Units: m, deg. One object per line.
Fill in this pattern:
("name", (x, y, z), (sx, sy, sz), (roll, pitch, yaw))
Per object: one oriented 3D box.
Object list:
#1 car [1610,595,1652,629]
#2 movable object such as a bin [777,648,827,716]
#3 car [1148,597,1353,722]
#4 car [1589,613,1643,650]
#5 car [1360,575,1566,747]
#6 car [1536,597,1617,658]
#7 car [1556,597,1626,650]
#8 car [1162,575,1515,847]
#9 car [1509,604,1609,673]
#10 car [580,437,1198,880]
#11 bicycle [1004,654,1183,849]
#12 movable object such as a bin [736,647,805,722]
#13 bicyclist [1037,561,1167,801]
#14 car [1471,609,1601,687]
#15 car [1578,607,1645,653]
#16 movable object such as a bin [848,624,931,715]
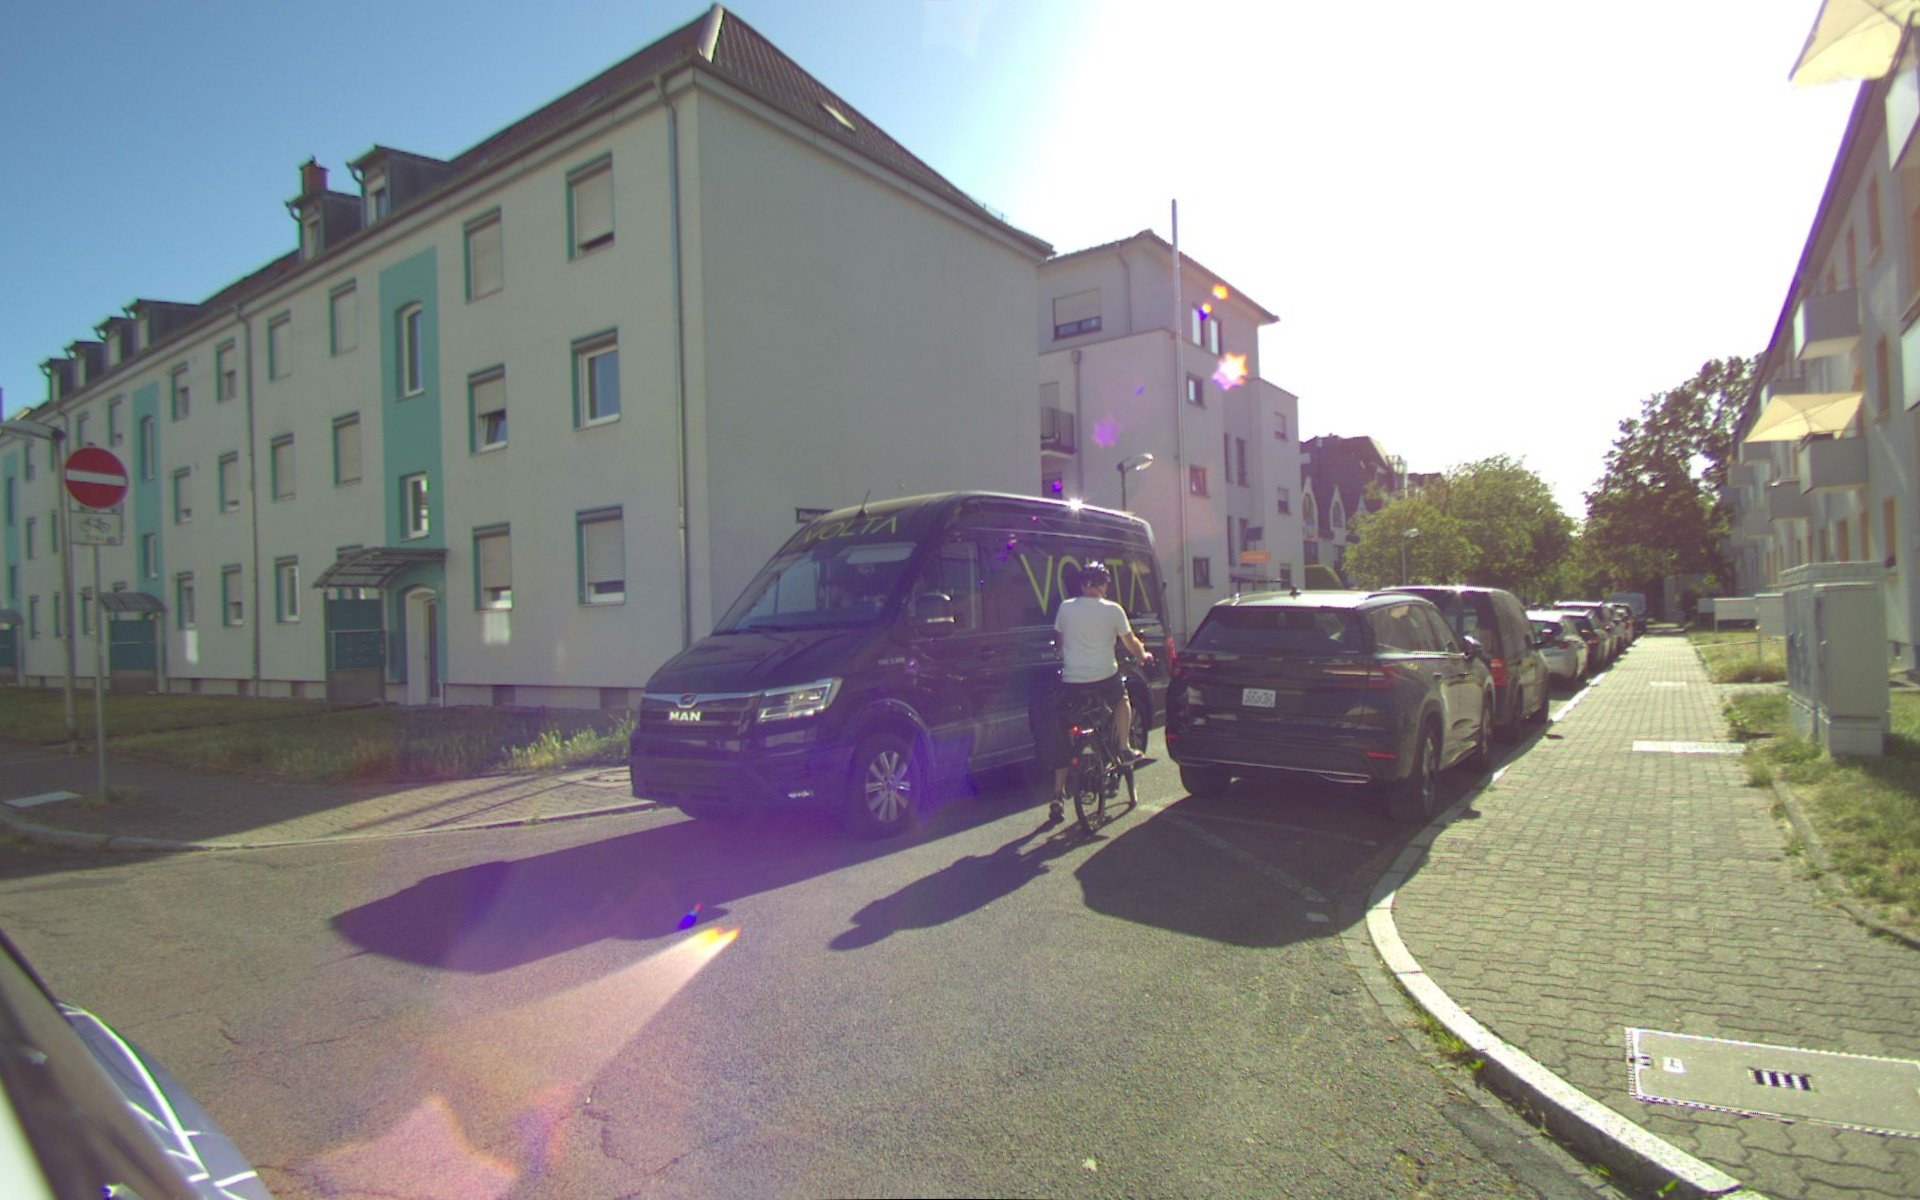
("car", (40.966, 0.761, 61.774), (1.783, 1.922, 3.521), (-4, -4, 39))
("movable object such as a bin", (-2.339, 1.207, 14.989), (0.531, 0.956, 0.493), (-3, -3, 36))
("car", (4.682, 0.906, 15.939), (1.861, 1.708, 3.952), (-3, -4, 35))
("car", (31.759, 1.539, 48.987), (1.783, 1.670, 3.521), (-4, -4, 39))
("car", (6.439, 0.683, 12.736), (1.716, 1.802, 3.956), (-1, -2, 35))
("car", (18.326, 0.841, 30.018), (1.781, 1.670, 3.525), (-3, -4, 35))
("car", (21.346, 0.836, 34.185), (1.781, 1.670, 3.525), (-3, -4, 35))
("car", (3.432, 0.727, 8.570), (1.716, 1.676, 4.449), (-1, -2, 35))
("car", (14.752, 0.956, 24.838), (1.781, 1.537, 3.525), (-3, -4, 35))
("car", (-0.086, 0.358, 8.846), (1.996, 2.564, 5.888), (-3, -2, 36))
("bicycle", (1.004, 0.989, 7.207), (0.627, 1.123, 1.797), (-1, -1, 30))
("movable object such as a bin", (-2.691, 1.189, 14.362), (0.713, 0.999, 0.607), (-3, -2, 34))
("bicyclist", (1.034, 0.552, 7.270), (0.596, 1.591, 0.897), (-2, -2, 31))
("car", (11.453, 0.907, 20.027), (1.782, 1.394, 3.522), (-1, -2, 38))
("car", (25.657, 1.197, 39.809), (1.783, 1.670, 3.521), (-4, -4, 39))
("movable object such as a bin", (-1.152, 1.120, 16.593), (0.846, 1.411, 1.052), (-3, -2, 38))
